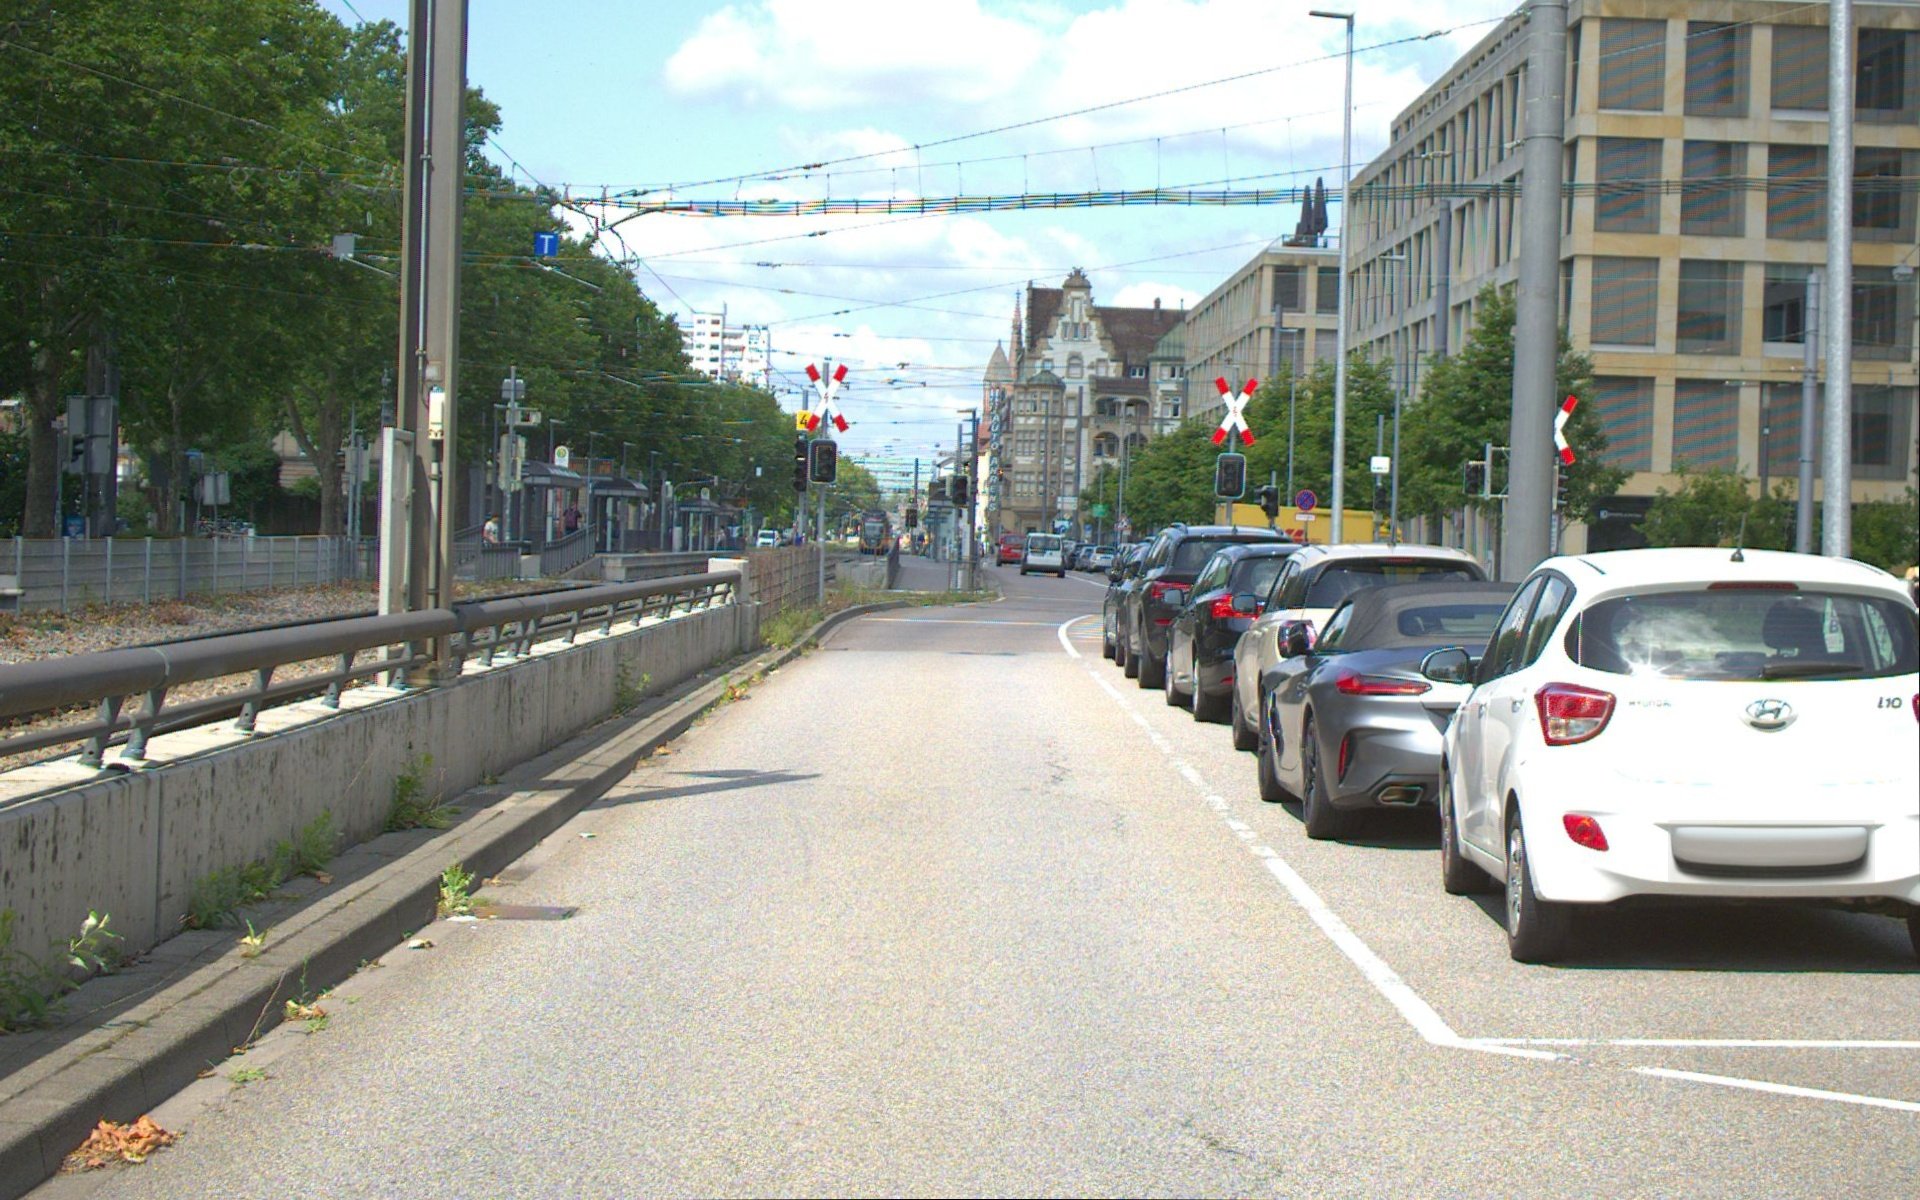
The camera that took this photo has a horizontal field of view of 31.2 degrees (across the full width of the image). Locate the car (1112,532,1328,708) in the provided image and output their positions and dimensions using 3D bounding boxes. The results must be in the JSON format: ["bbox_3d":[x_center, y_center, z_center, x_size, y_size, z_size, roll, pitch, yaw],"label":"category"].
[{"bbox_3d":[2.627,0.148,35.700,1.816,1.656,4.671,1,1,-1],"label":"car"}]

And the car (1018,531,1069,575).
[{"bbox_3d":[3.490,-1.970,143.980,1.868,1.740,4.000,3,1,-1],"label":"car"}]

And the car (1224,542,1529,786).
[{"bbox_3d":[2.756,0.371,23.453,1.669,1.510,3.851,1,1,1],"label":"car"}]

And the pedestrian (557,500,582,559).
[{"bbox_3d":[-12.400,-2.234,109.099,0.706,1.839,0.864,0,1,-1],"label":"pedestrian"}]

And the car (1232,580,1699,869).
[{"bbox_3d":[2.613,0.588,18.789,1.824,1.307,4.443,1,1,-1],"label":"car"}]

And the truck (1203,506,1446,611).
[{"bbox_3d":[10.826,-1.227,102.413,6.805,2.857,2.455,2,0,-2],"label":"truck"}]

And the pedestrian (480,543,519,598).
[{"bbox_3d":[-11.233,-0.727,83.837,0.861,1.339,0.923,0,1,-3],"label":"pedestrian"}]

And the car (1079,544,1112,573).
[{"bbox_3d":[7.373,-2.259,187.545,1.591,1.455,3.613,3,1,1],"label":"car"}]

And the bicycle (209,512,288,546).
[{"bbox_3d":[-29.485,-2.940,142.466,3.039,1.163,0.634,5,1,4],"label":"bicycle"}]

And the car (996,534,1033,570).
[{"bbox_3d":[3.074,-2.740,195.355,1.993,2.007,4.000,0,1,0],"label":"car"}]

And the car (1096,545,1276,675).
[{"bbox_3d":[2.716,0.076,42.348,1.816,1.449,4.991,1,1,-1],"label":"car"}]

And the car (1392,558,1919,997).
[{"bbox_3d":[2.797,0.590,13.716,1.707,1.474,3.789,1,1,1],"label":"car"}]

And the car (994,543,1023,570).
[{"bbox_3d":[2.757,-2.487,195.492,1.443,1.465,4.093,0,1,-2],"label":"car"}]

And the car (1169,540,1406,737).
[{"bbox_3d":[2.707,0.265,29.220,1.644,1.525,4.442,1,1,1],"label":"car"}]

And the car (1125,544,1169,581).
[{"bbox_3d":[8.387,-1.710,154.734,1.685,1.600,4.152,1,1,-1],"label":"car"}]

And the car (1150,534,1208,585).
[{"bbox_3d":[8.513,-1.585,133.769,1.881,1.932,4.843,1,1,-1],"label":"car"}]

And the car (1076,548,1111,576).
[{"bbox_3d":[7.706,-2.205,198.676,1.591,1.429,4.108,4,1,-2],"label":"car"}]

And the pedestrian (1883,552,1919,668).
[{"bbox_3d":[13.278,0.141,47.935,0.622,1.602,0.624,0,1,-3],"label":"pedestrian"}]
